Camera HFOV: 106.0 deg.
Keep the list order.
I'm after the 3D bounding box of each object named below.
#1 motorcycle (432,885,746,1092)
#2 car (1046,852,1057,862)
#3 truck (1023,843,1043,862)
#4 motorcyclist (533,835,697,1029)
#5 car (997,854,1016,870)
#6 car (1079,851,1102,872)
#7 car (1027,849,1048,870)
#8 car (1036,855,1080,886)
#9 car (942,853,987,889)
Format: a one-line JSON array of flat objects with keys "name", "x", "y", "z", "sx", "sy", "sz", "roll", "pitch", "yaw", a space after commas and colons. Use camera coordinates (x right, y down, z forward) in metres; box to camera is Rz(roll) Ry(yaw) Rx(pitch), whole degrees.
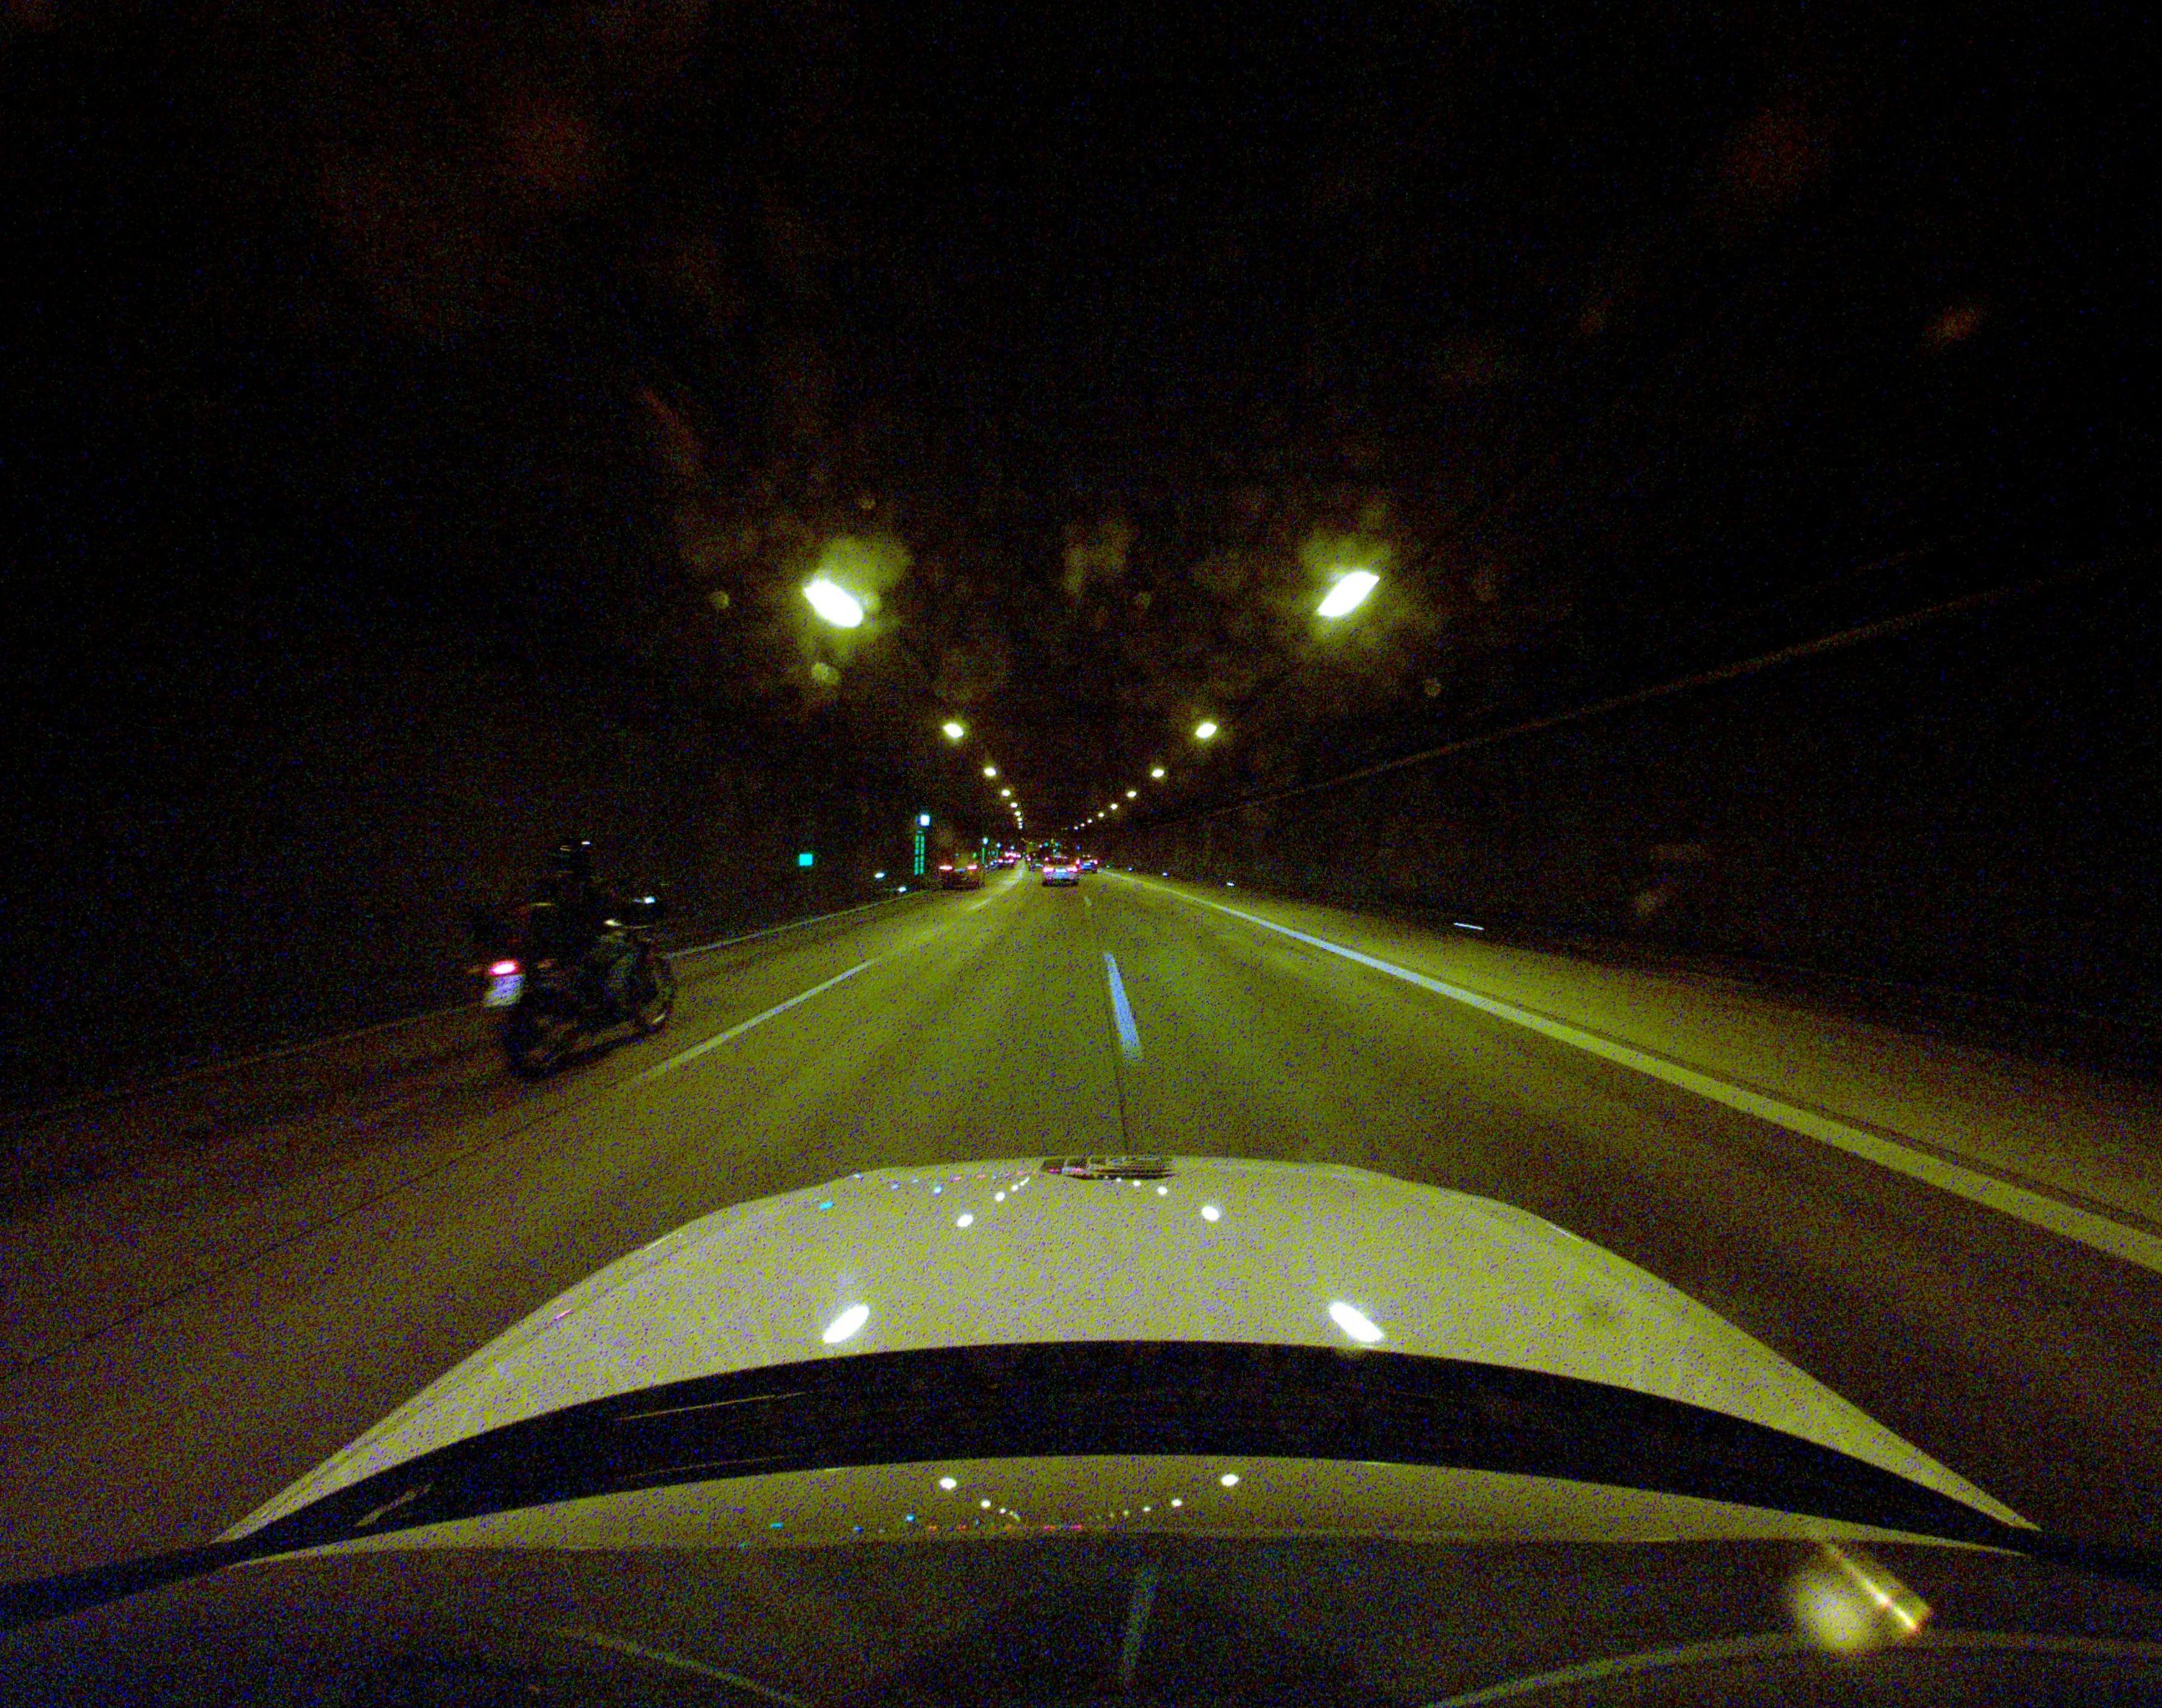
[{"name": "motorcycle", "x": -3.783, "y": 0.939, "z": 6.671, "sx": 0.842, "sy": 1.245, "sz": 2.607, "roll": -1, "pitch": 0, "yaw": 3}, {"name": "car", "x": -5.745, "y": 0.602, "z": 159.983, "sx": 1.990, "sy": 1.754, "sz": 3.994, "roll": 0, "pitch": -1, "yaw": -4}, {"name": "truck", "x": -7.866, "y": -0.260, "z": 134.891, "sx": 3.075, "sy": 3.113, "sz": 10.019, "roll": 0, "pitch": 1, "yaw": -3}, {"name": "motorcyclist", "x": -3.781, "y": 0.600, "z": 6.684, "sx": 0.836, "sy": 1.477, "sz": 0.822, "roll": -1, "pitch": 0, "yaw": 1}, {"name": "car", "x": -8.143, "y": 0.898, "z": 89.370, "sx": 1.796, "sy": 1.684, "sz": 3.997, "roll": -1, "pitch": 0, "yaw": -2}, {"name": "car", "x": 0.755, "y": 0.625, "z": 67.284, "sx": 1.834, "sy": 1.602, "sz": 3.998, "roll": -1, "pitch": 0, "yaw": -1}, {"name": "car", "x": -4.209, "y": 0.513, "z": 79.826, "sx": 1.989, "sy": 1.972, "sz": 3.996, "roll": -1, "pitch": -1, "yaw": -2}, {"name": "car", "x": -1.122, "y": 0.812, "z": 41.615, "sx": 1.986, "sy": 1.483, "sz": 4.002, "roll": -1, "pitch": 0, "yaw": 2}, {"name": "car", "x": -5.617, "y": 0.795, "z": 39.594, "sx": 1.781, "sy": 1.598, "sz": 3.797, "roll": -1, "pitch": 0, "yaw": -3}]
